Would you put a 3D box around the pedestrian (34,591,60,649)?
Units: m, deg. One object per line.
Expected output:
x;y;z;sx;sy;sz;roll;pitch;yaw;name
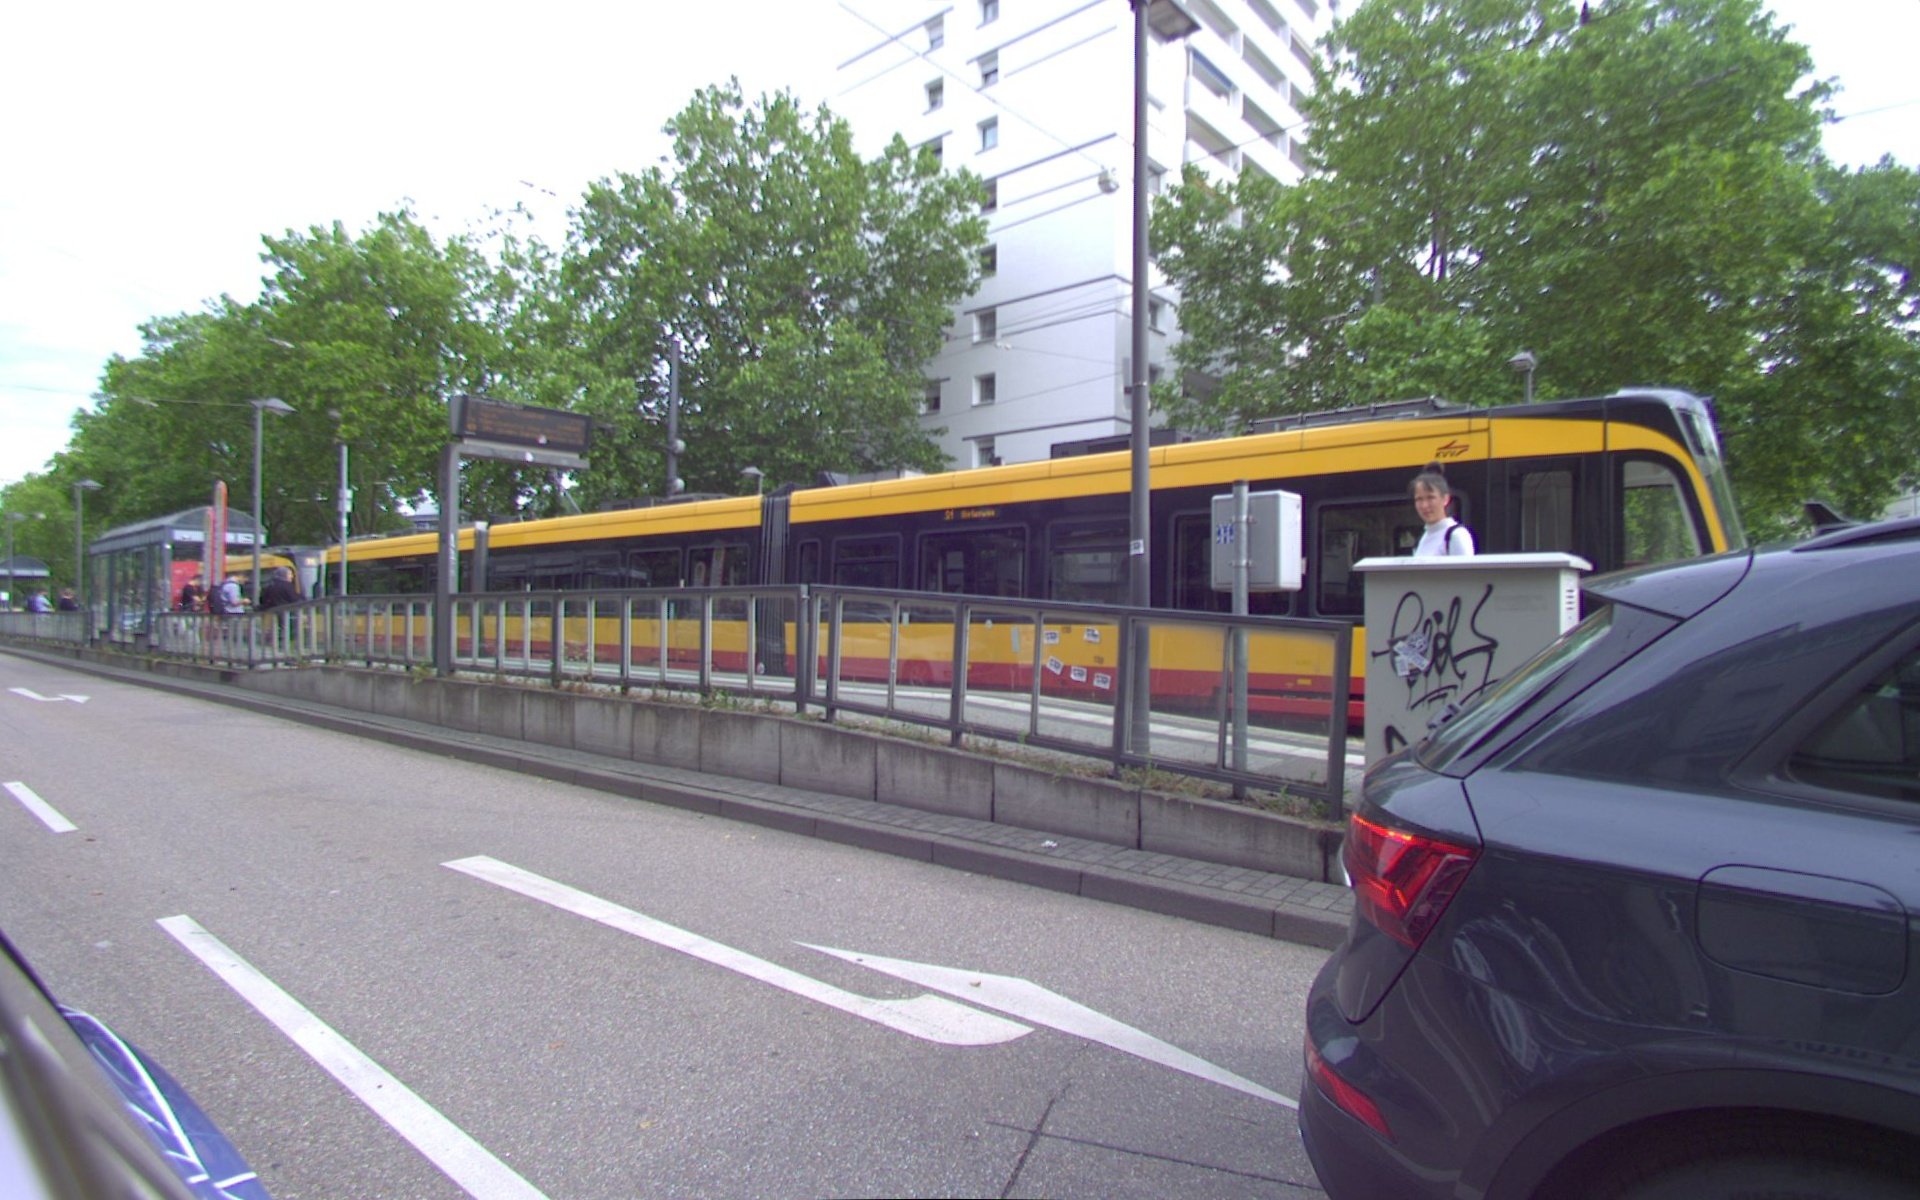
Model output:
-29.040;0.624;32.183;0.523;1.818;0.607;-1;0;-35;pedestrian

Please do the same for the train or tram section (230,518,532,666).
-19.152;-0.139;32.380;16.241;3.781;3.295;-1;0;41;train or tram section

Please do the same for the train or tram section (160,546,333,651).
-29.380;-0.007;41.395;11.039;3.781;3.295;-1;0;41;train or tram section

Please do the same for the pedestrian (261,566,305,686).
-10.531;0.389;15.740;0.513;1.818;0.606;-1;0;-37;pedestrian

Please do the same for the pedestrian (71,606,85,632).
-69.672;1.531;79.921;0.756;2.029;0.710;-1;-1;41;pedestrian

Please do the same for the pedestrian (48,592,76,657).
-25.570;0.694;28.821;0.523;1.818;0.607;-1;0;-35;pedestrian

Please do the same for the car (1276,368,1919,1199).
2.688;0.531;0.971;4.225;1.649;1.715;-1;0;41;car

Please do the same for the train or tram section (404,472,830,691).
-8.359;-0.278;22.883;12.543;3.781;3.295;-1;0;41;train or tram section

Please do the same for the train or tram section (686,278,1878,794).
2.064;-0.412;13.694;15.196;3.781;3.295;-1;0;41;train or tram section

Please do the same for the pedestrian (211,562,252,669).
-12.753;0.267;17.715;0.605;1.818;0.469;-1;0;45;pedestrian

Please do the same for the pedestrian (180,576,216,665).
-15.927;0.419;21.160;0.467;1.818;0.607;-1;0;-24;pedestrian

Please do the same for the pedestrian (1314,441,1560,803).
2.379;0.106;5.169;0.969;1.683;0.718;-1;0;12;pedestrian
